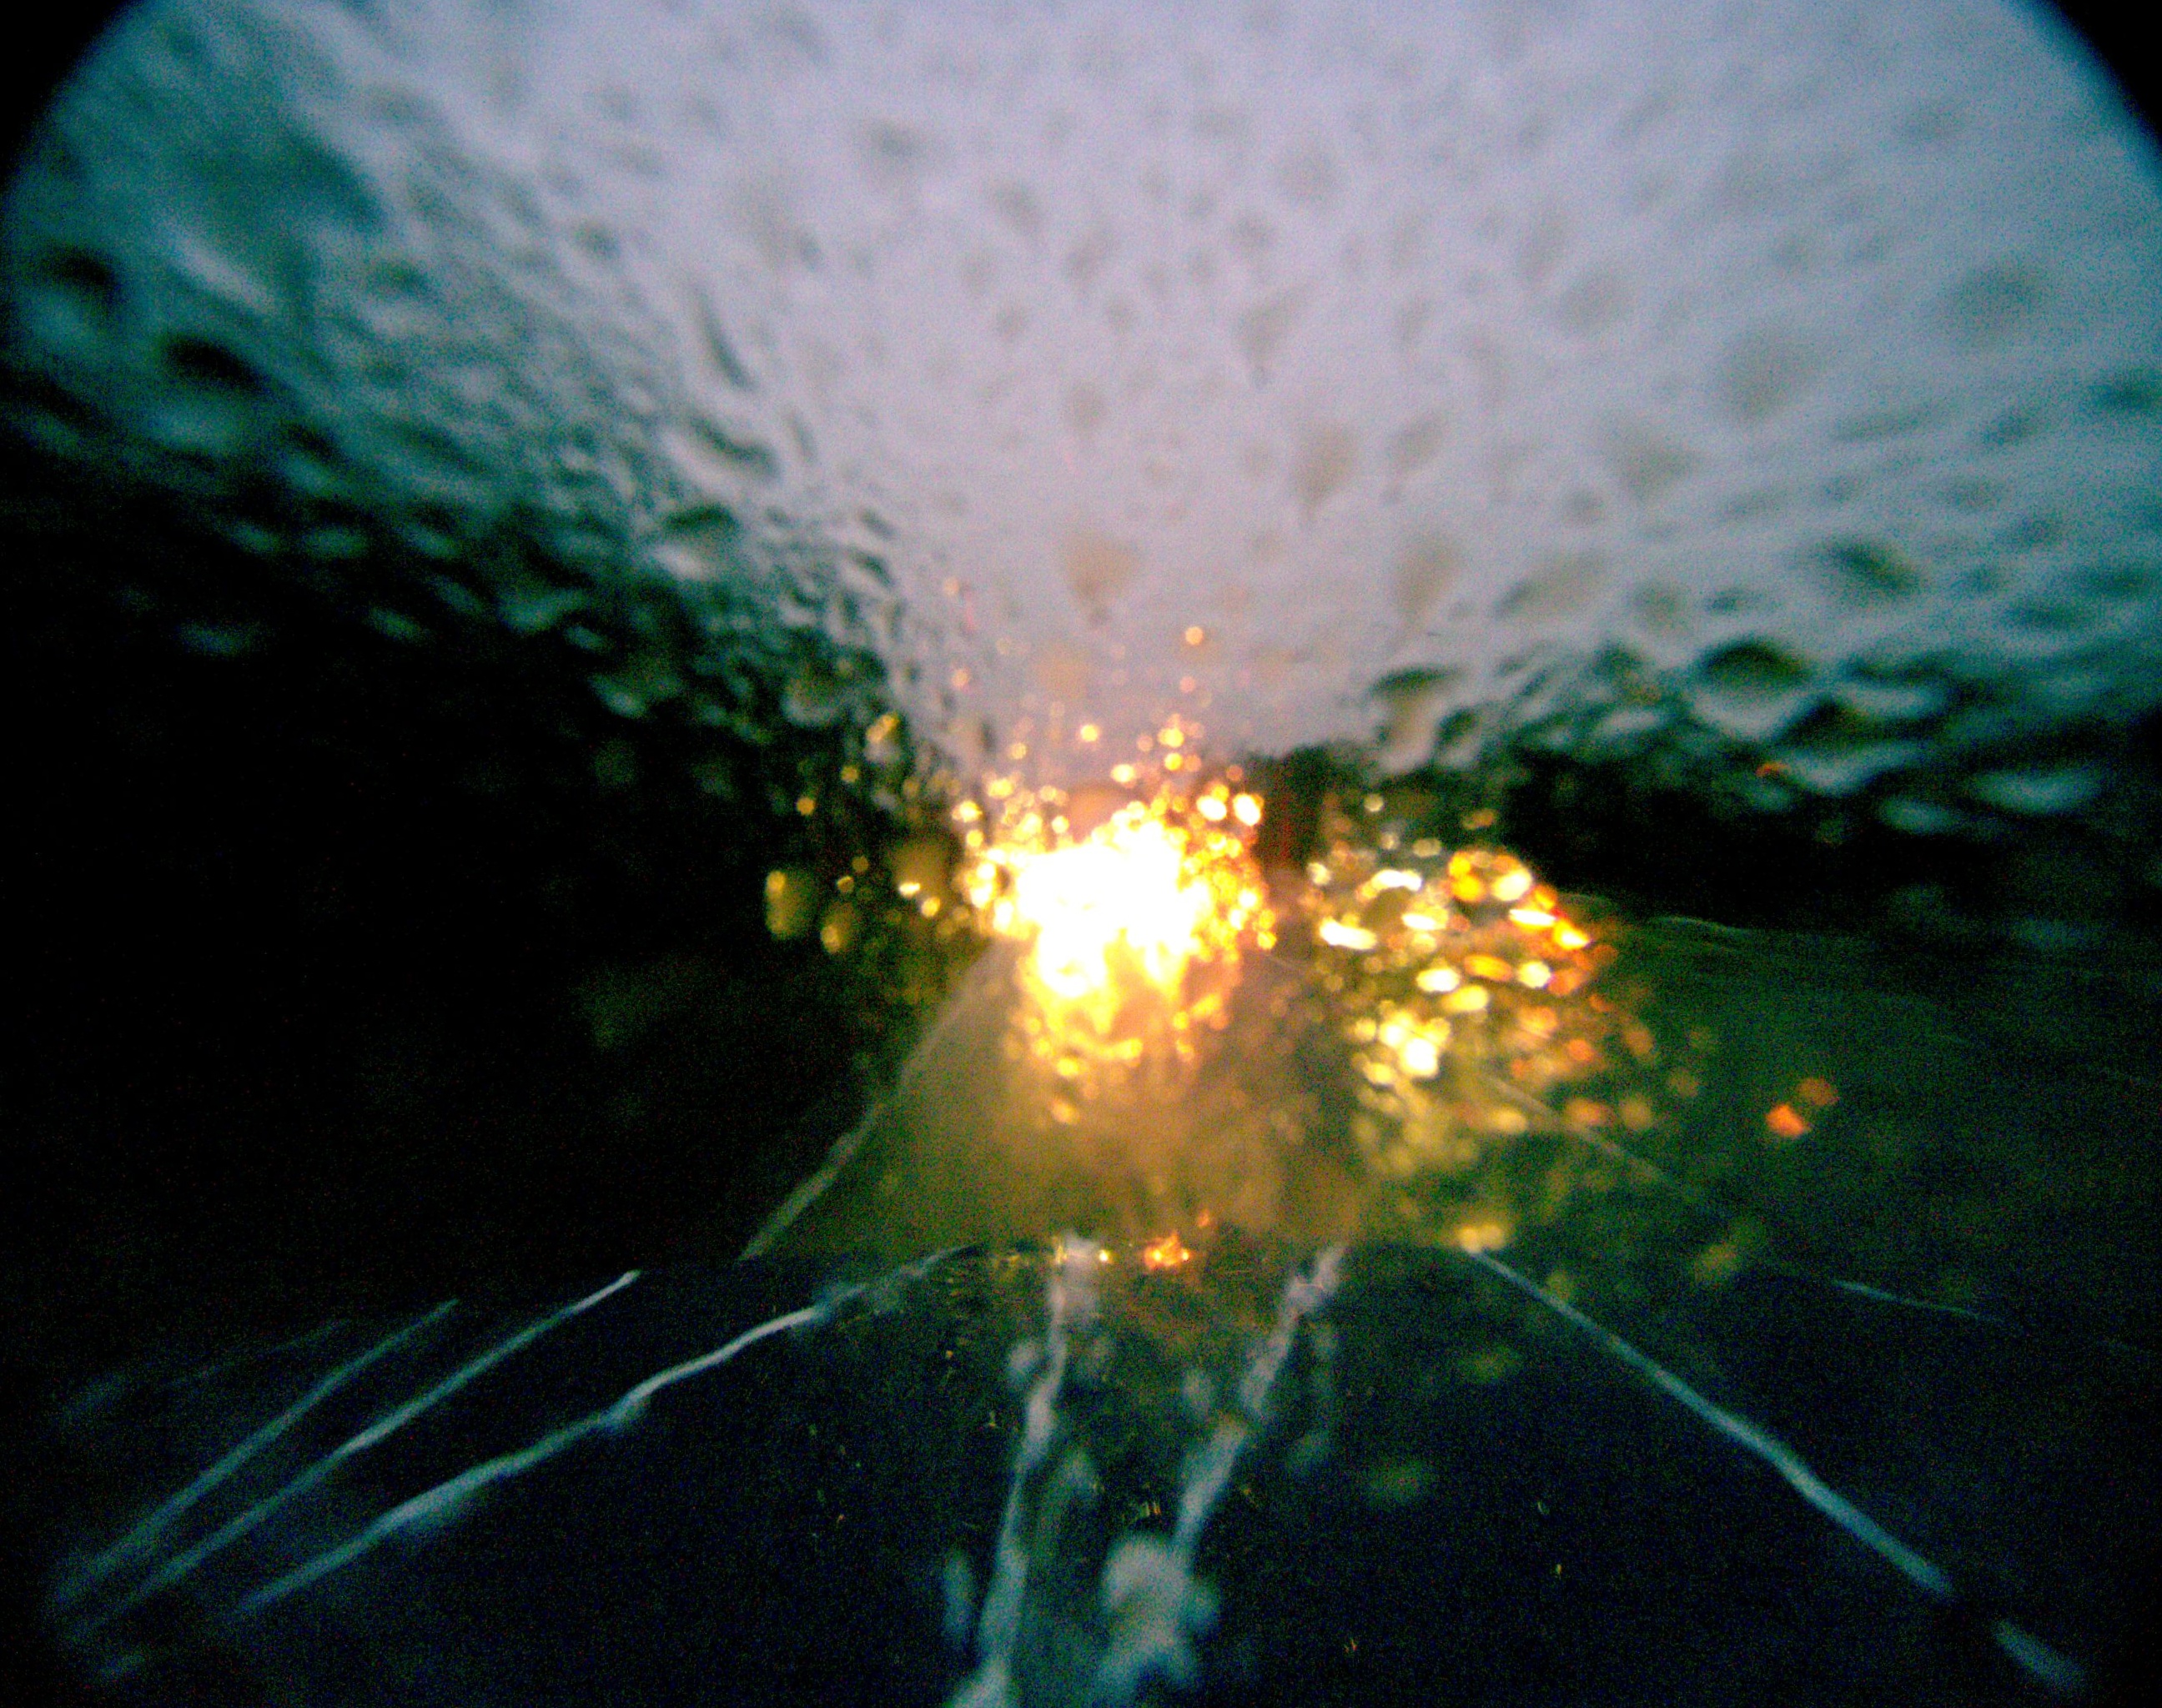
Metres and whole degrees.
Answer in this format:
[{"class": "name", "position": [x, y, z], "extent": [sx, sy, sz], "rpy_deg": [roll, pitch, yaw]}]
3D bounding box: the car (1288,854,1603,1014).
[{"class": "car", "position": [4.387, 0.828, 10.105], "extent": [2.010, 1.547, 4.516], "rpy_deg": [-2, 1, 0]}]

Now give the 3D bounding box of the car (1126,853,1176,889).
[{"class": "car", "position": [3.137, 0.715, 34.758], "extent": [1.637, 1.413, 4.169], "rpy_deg": [-2, 1, -3]}]

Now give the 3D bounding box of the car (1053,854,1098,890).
[{"class": "car", "position": [-0.210, 0.759, 33.535], "extent": [1.850, 1.428, 4.245], "rpy_deg": [-1, 0, 1]}]

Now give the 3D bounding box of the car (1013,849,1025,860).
[{"class": "car", "position": [-10.440, 0.131, 128.469], "extent": [1.703, 1.721, 3.996], "rpy_deg": [-2, 2, -9]}]

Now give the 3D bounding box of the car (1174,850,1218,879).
[{"class": "car", "position": [6.606, 0.585, 44.115], "extent": [1.650, 1.547, 4.379], "rpy_deg": [-1, 1, -3]}]
